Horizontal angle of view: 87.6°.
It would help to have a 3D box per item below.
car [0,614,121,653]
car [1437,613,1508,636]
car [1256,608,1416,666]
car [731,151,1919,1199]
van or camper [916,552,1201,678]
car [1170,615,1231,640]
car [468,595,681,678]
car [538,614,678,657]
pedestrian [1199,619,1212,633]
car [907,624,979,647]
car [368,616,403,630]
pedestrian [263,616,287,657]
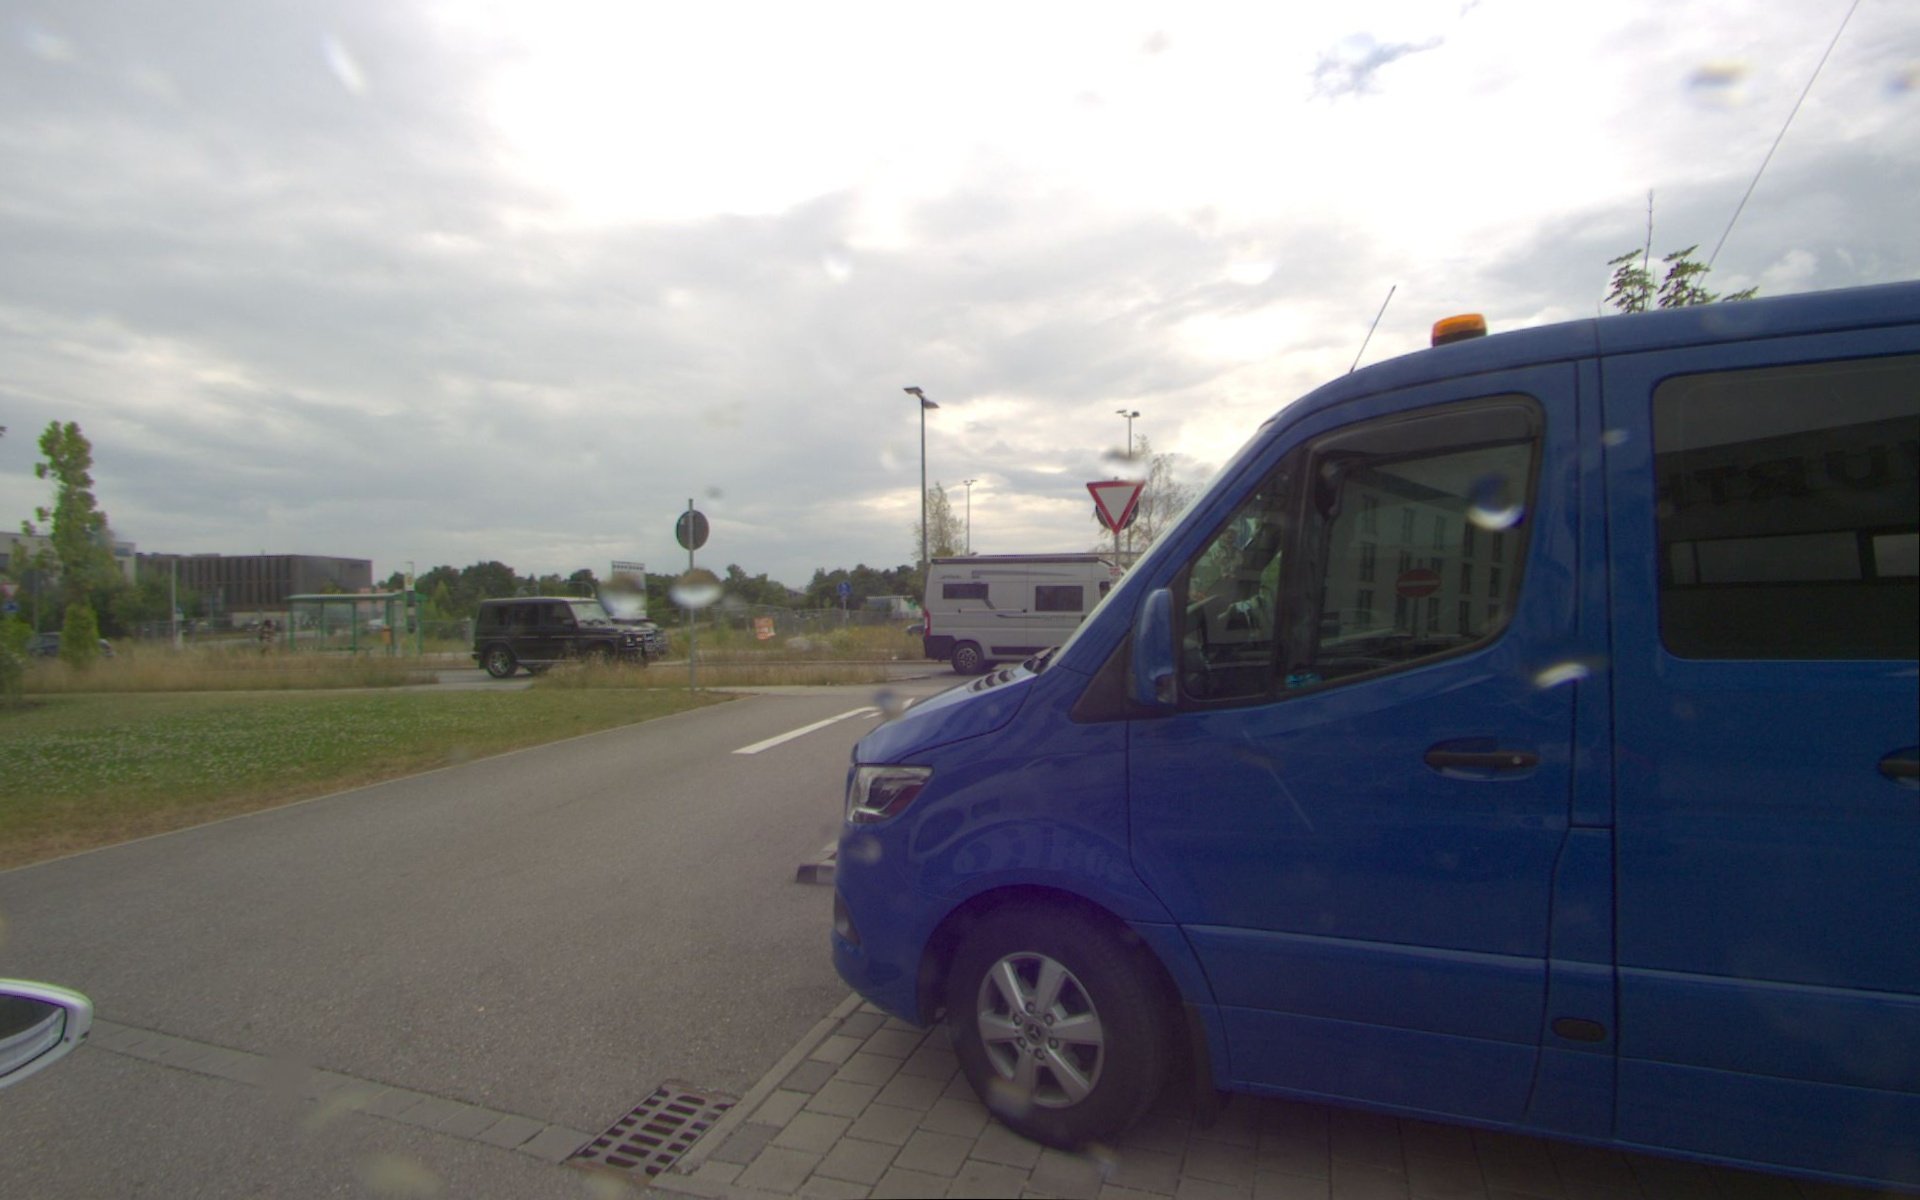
[{"bbox_3d":[-33.062,1.213,36.463,3.888,1.360,1.718,0,0,9],"label":"car"},{"bbox_3d":[34.946,1.659,68.362,3.926,1.528,1.998,0,0,14],"label":"car"},{"bbox_3d":[10.238,0.988,27.458,3.985,1.500,1.755,0,-1,20],"label":"car"},{"bbox_3d":[3.262,0.304,2.612,7.724,2.353,2.195,1,0,23],"label":"car"},{"bbox_3d":[2.236,0.305,22.313,6.052,2.575,2.194,0,0,15],"label":"van or camper"},{"bbox_3d":[14.452,1.669,60.293,3.550,1.473,1.667,0,0,12],"label":"car"},{"bbox_3d":[-9.743,0.885,25.446,4.756,1.949,1.998,0,0,13],"label":"car"},{"bbox_3d":[-11.483,1.140,32.793,3.987,1.360,1.718,0,0,9],"label":"car"},{"bbox_3d":[20.159,2.149,82.233,0.955,1.169,1.132,0,0,11],"label":"pedestrian"},{"bbox_3d":[-1.206,2.553,72.242,4.928,1.578,2.000,0,-1,9],"label":"car"},{"bbox_3d":[-63.643,2.548,110.934,1.648,1.505,3.642,0,0,4],"label":"car"},{"bbox_3d":[-29.623,1.556,43.302,0.736,1.744,0.644,1,-1,-44],"label":"pedestrian"}]
